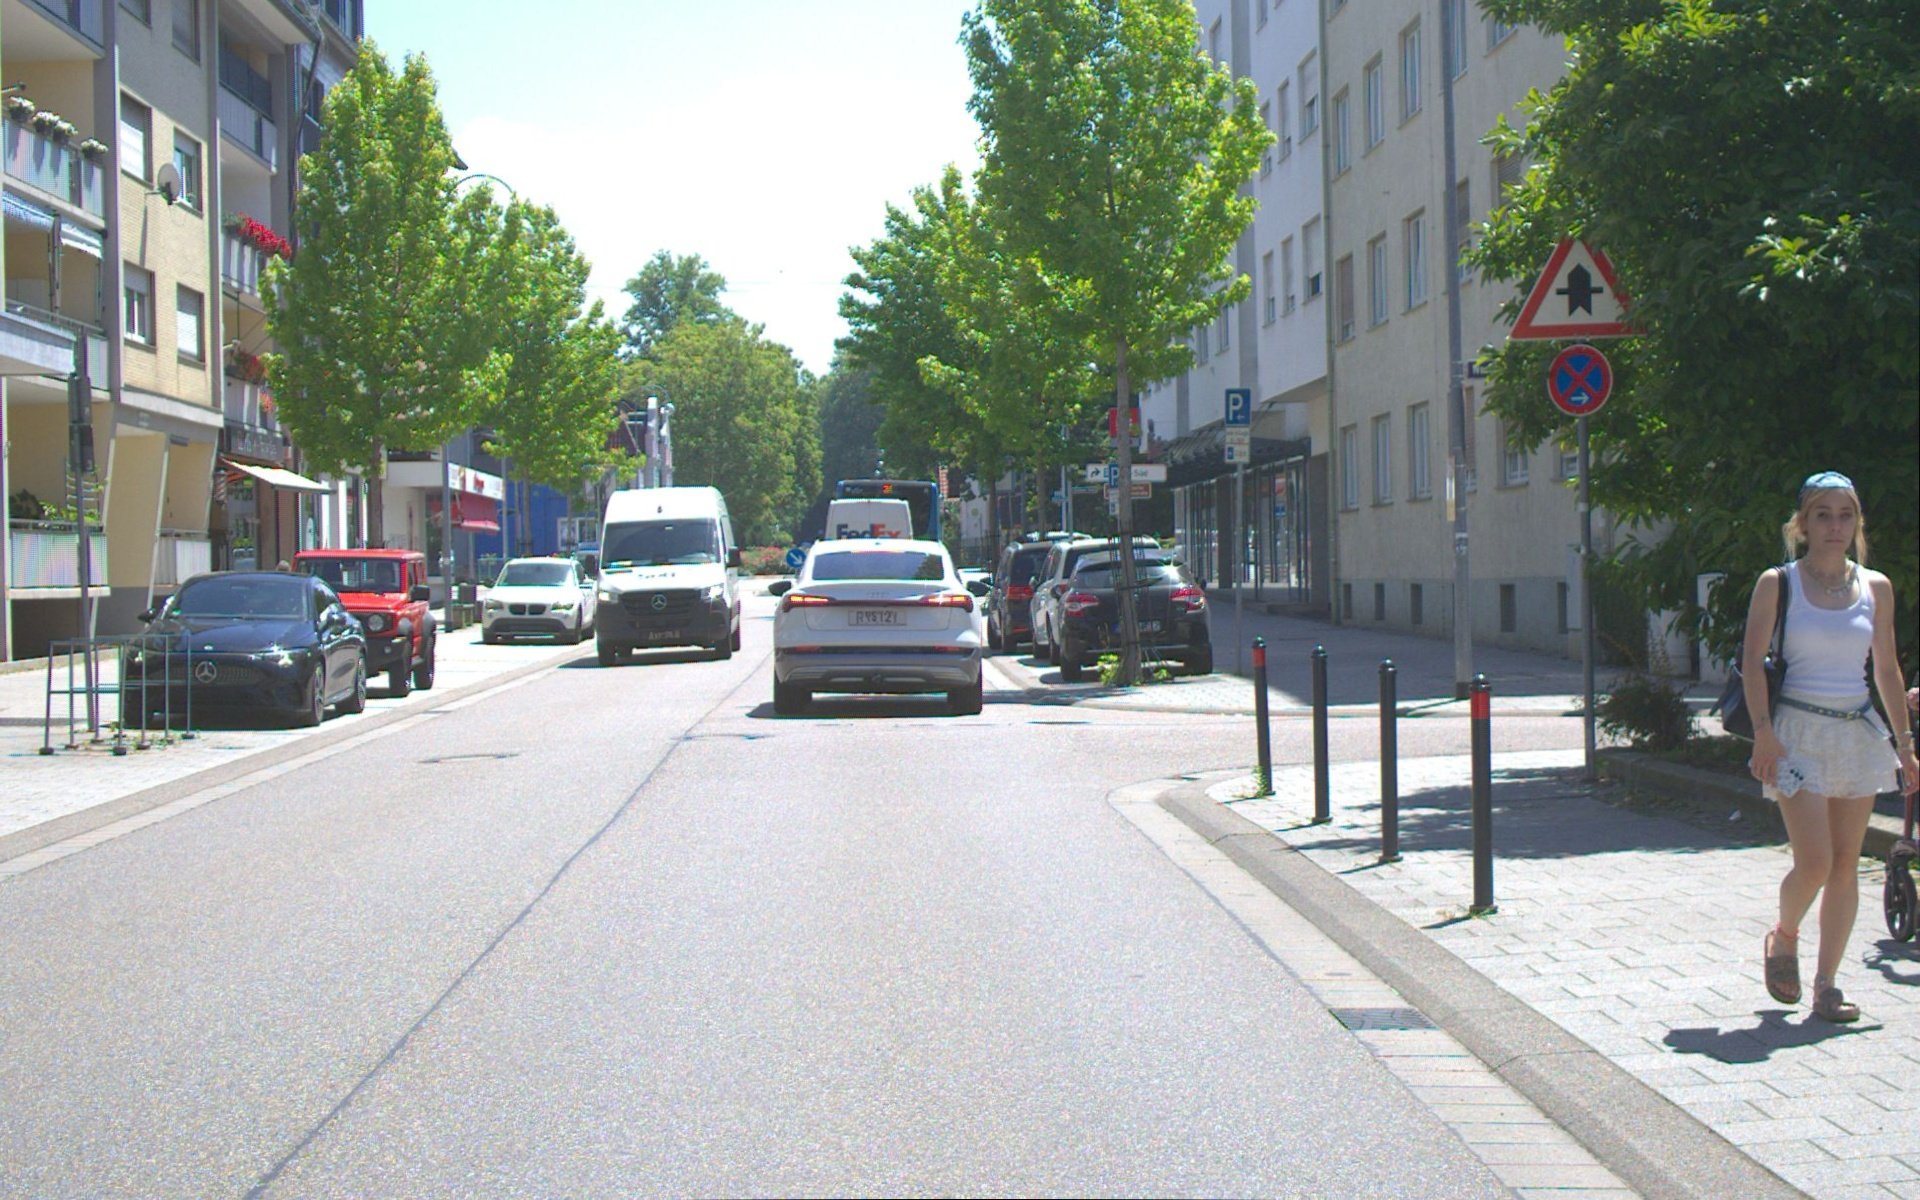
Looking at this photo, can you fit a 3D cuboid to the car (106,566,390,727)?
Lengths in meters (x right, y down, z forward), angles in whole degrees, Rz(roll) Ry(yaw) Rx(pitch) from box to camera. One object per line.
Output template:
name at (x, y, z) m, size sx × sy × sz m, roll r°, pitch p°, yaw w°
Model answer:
car at (-6.924, 0.400, 33.926) m, size 1.896 × 1.412 × 5.048 m, roll 1°, pitch 1°, yaw -2°

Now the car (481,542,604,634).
car at (-7.697, -0.243, 63.700) m, size 1.752 × 1.612 × 4.401 m, roll 1°, pitch 1°, yaw 0°

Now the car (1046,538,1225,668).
car at (2.049, -0.003, 41.278) m, size 1.896 × 1.433 × 4.544 m, roll -1°, pitch 1°, yaw 0°

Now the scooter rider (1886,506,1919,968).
scooter rider at (3.552, 0.448, 11.317) m, size 0.716 × 1.543 × 0.770 m, roll -2°, pitch 1°, yaw -3°

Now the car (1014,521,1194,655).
car at (1.926, -0.193, 47.417) m, size 1.896 × 1.669 × 4.691 m, roll -3°, pitch 1°, yaw -4°

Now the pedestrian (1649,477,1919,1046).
pedestrian at (2.588, 0.465, 10.439) m, size 0.700 × 1.621 × 0.784 m, roll -4°, pitch 1°, yaw -3°

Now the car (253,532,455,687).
car at (-7.061, 0.076, 40.396) m, size 1.752 × 1.696 × 4.102 m, roll 1°, pitch 1°, yaw -2°

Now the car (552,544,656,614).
car at (-7.679, -0.475, 74.568) m, size 1.752 × 1.448 × 4.401 m, roll 1°, pitch 1°, yaw 0°

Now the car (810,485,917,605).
car at (-2.042, -1.161, 73.106) m, size 2.156 × 2.433 × 5.284 m, roll 1°, pitch 1°, yaw -1°

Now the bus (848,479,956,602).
bus at (-1.533, -1.618, 94.226) m, size 2.661 × 3.199 × 7.451 m, roll 1°, pitch 1°, yaw 1°

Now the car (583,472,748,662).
car at (-4.438, -0.535, 52.846) m, size 2.036 × 2.621 × 7.108 m, roll -3°, pitch 1°, yaw -2°

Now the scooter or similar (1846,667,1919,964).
scooter or similar at (3.530, 0.724, 11.935) m, size 0.663 × 0.960 × 0.754 m, roll -2°, pitch 1°, yaw -2°

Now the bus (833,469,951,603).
bus at (-1.659, -1.588, 87.006) m, size 2.661 × 3.210 × 7.301 m, roll 1°, pitch 1°, yaw 1°

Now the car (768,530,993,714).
car at (-0.798, 0.163, 32.618) m, size 1.993 × 1.627 × 4.001 m, roll 0°, pitch 1°, yaw -3°

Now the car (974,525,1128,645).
car at (1.351, -0.257, 52.752) m, size 1.855 × 1.669 × 4.538 m, roll -3°, pitch 1°, yaw -4°
